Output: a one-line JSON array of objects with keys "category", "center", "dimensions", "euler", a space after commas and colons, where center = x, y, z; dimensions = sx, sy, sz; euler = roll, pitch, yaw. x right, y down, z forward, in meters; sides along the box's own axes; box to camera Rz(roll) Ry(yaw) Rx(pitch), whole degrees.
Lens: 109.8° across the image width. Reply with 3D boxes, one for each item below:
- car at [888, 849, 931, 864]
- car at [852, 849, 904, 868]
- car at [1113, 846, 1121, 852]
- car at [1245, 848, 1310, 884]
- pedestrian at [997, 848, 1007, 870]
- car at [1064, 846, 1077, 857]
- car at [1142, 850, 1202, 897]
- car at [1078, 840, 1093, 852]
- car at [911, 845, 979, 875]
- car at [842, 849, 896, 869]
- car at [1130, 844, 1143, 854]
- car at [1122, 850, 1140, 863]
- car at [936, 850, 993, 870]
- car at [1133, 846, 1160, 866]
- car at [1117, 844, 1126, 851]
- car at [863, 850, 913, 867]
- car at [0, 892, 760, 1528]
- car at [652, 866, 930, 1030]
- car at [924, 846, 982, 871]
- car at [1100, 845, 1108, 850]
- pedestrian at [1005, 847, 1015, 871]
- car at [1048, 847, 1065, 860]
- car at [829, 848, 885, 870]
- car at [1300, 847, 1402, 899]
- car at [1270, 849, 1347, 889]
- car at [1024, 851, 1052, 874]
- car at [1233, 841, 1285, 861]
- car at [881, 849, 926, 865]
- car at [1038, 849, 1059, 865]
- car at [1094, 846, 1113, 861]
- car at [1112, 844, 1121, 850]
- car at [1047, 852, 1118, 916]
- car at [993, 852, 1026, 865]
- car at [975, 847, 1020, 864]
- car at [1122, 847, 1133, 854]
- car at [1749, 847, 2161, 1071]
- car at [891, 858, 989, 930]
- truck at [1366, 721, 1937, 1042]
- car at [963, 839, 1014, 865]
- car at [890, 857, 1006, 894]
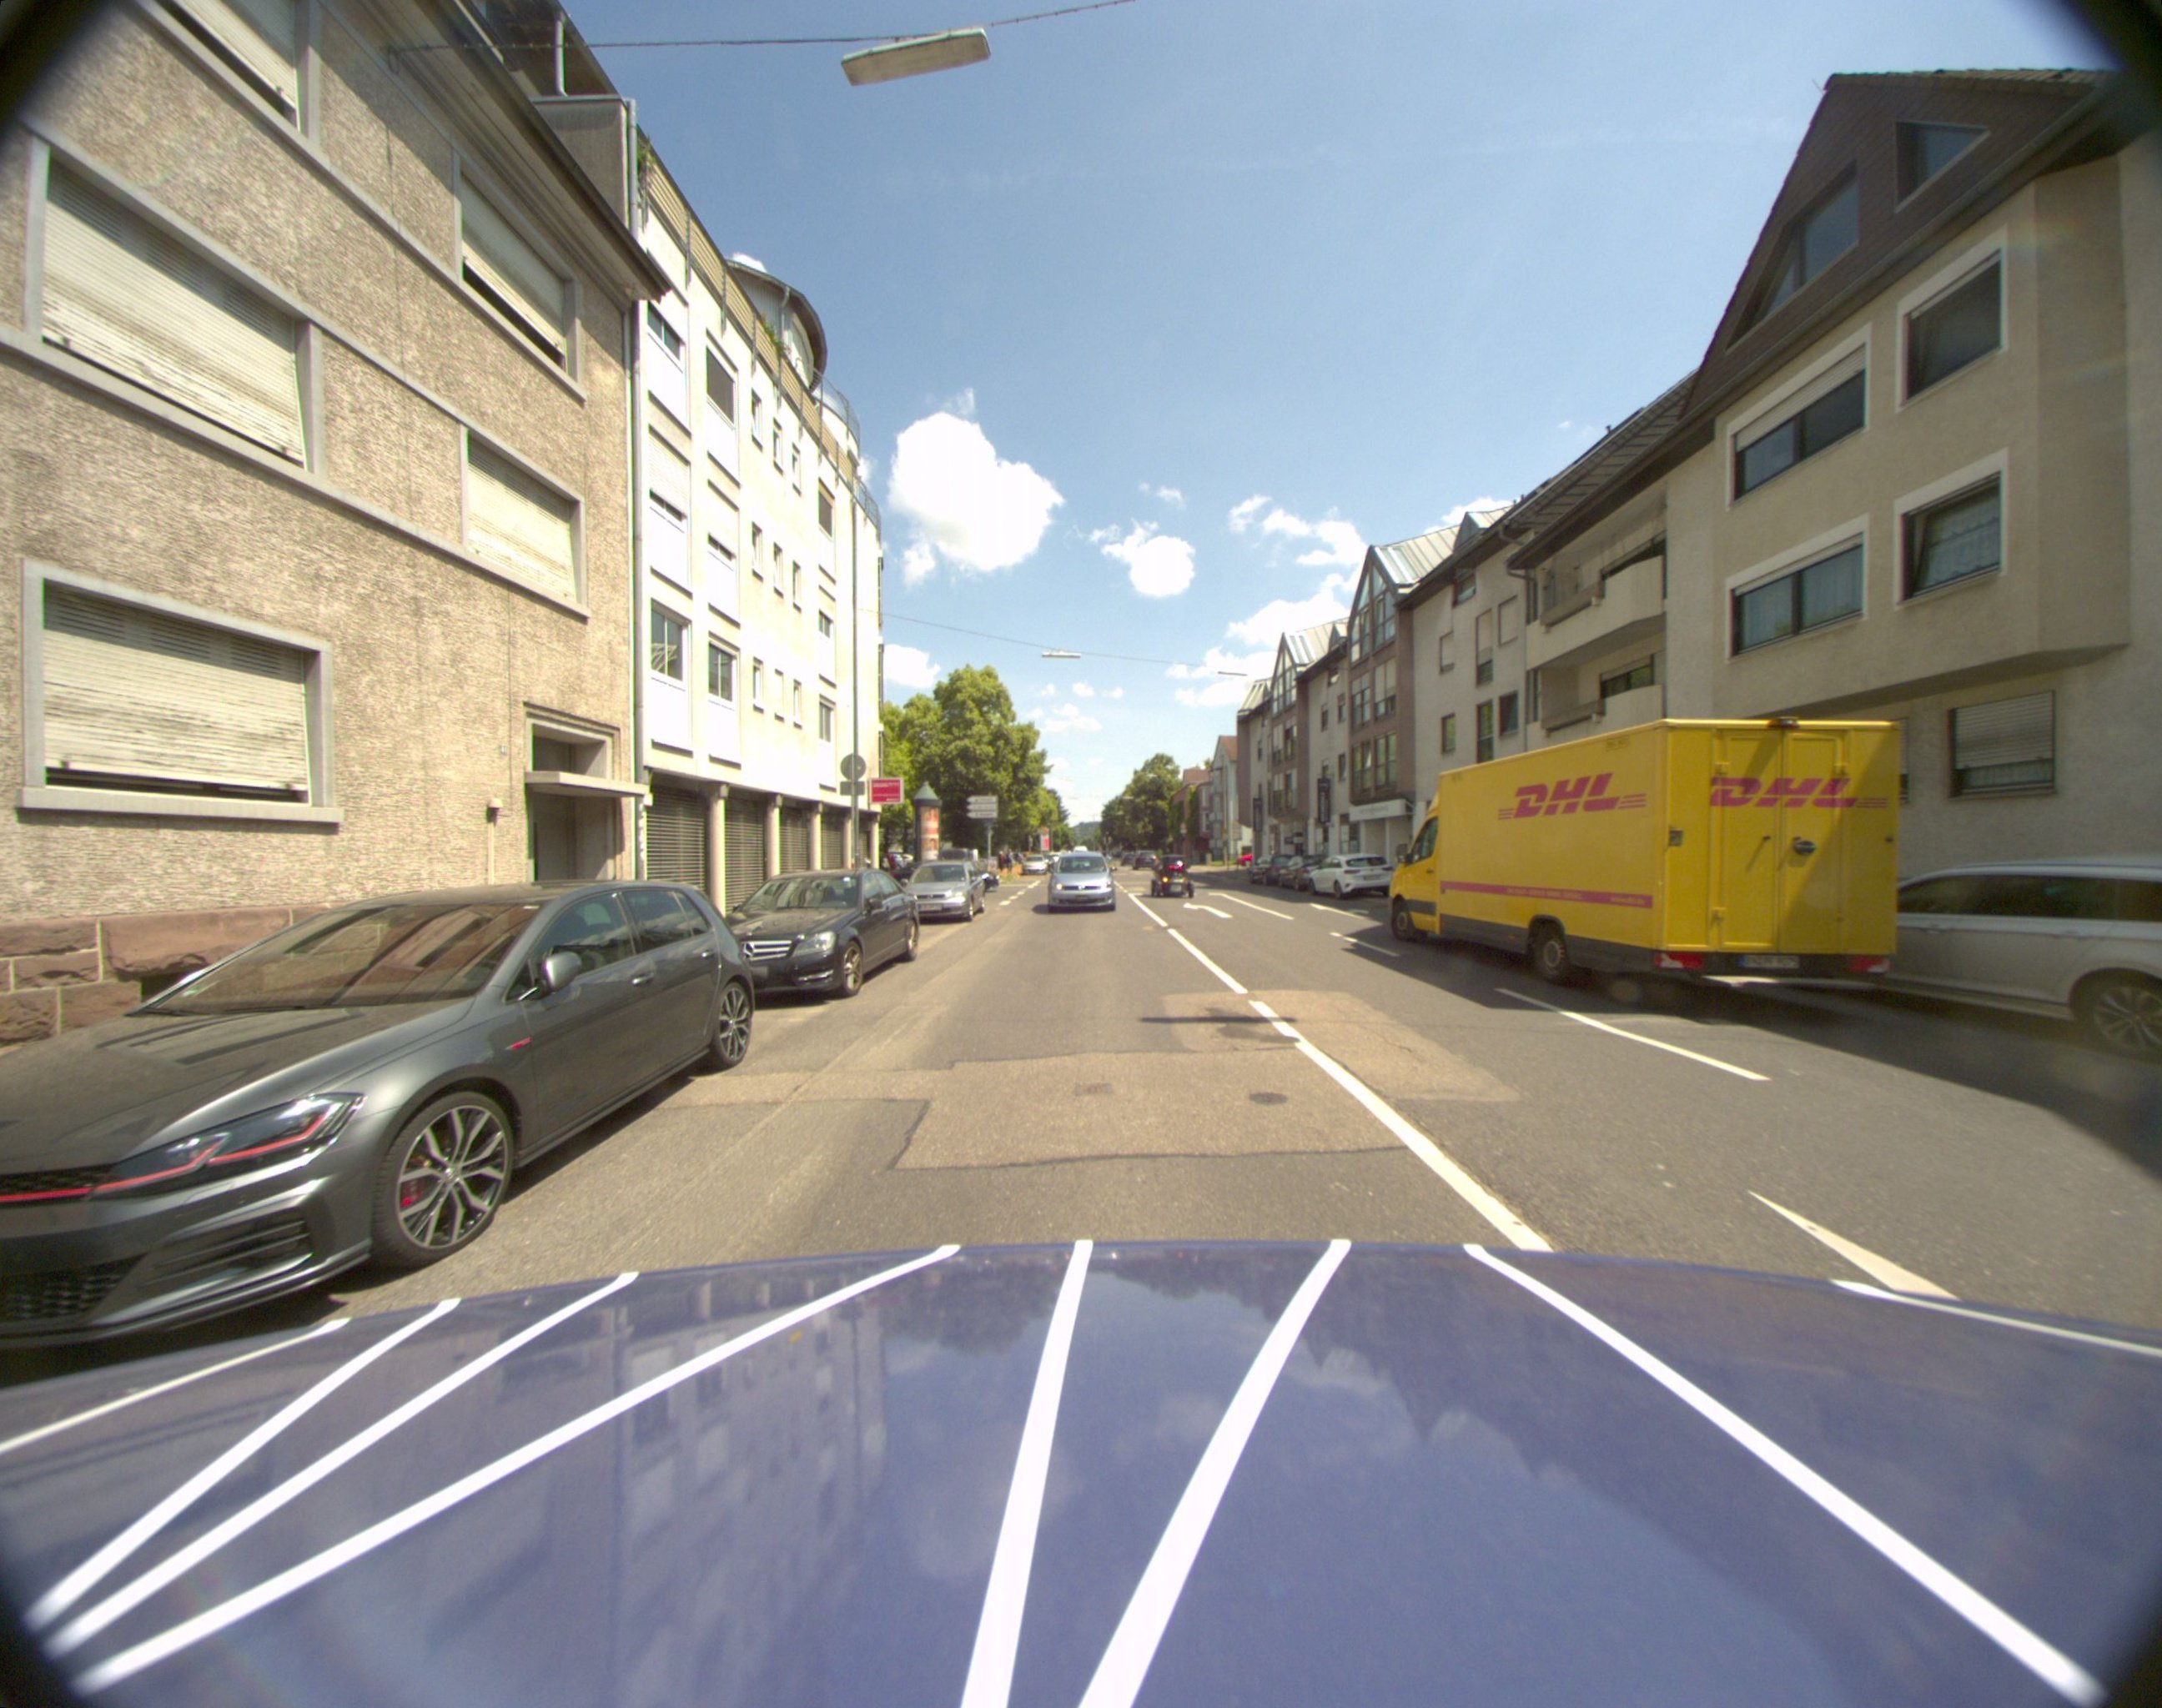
[{"category": "car", "center": [-17.873, 0.233, 79.173], "dimensions": [3.996, 1.465, 1.804], "euler": [0, 1, 2]}, {"category": "car", "center": [-17.706, 0.413, 66.249], "dimensions": [3.996, 1.577, 1.804], "euler": [0, 1, 2]}, {"category": "car", "center": [8.800, -1.167, 187.551], "dimensions": [1.758, 1.325, 3.607], "euler": [-2, 1, -1]}, {"category": "car", "center": [9.296, 0.500, 36.373], "dimensions": [1.844, 1.439, 4.968], "euler": [-3, 1, 1]}, {"category": "pedestrian", "center": [-5.874, 0.360, 56.798], "dimensions": [0.618, 1.584, 0.737], "euler": [-2, 2, 0]}, {"category": "car", "center": [-1.459, -0.393, 108.360], "dimensions": [1.775, 1.434, 3.338], "euler": [-2, 1, 1]}, {"category": "car", "center": [3.054, 0.626, 25.897], "dimensions": [1.501, 1.451, 2.721], "euler": [-1, 1, -4]}, {"category": "car", "center": [0.571, -1.035, 96.042], "dimensions": [1.720, 1.406, 4.589], "euler": [-1, 1, 3]}, {"category": "car", "center": [-8.797, 0.366, 49.487], "dimensions": [3.997, 1.741, 2.016], "euler": [-2, 1, -1]}, {"category": "car", "center": [-17.699, 0.404, 63.495], "dimensions": [3.996, 1.652, 1.804], "euler": [0, 1, 2]}, {"category": "car", "center": [8.856, -0.779, 121.250], "dimensions": [1.752, 1.499, 3.999], "euler": [-2, 1, -1]}, {"category": "car", "center": [5.347, 0.252, 81.844], "dimensions": [1.747, 1.411, 4.222], "euler": [0, 1, 1]}, {"category": "car", "center": [-8.751, 0.435, 57.118], "dimensions": [3.997, 1.390, 1.807], "euler": [-2, 1, -2]}, {"category": "car", "center": [5.414, 0.185, 63.442], "dimensions": [1.817, 1.611, 4.441], "euler": [0, 0, -1]}, {"category": "car", "center": [8.854, -1.399, 166.888], "dimensions": [1.758, 1.325, 3.607], "euler": [-2, 1, -1]}, {"category": "car", "center": [-17.372, 0.425, 68.566], "dimensions": [3.996, 1.465, 1.804], "euler": [0, 1, 2]}, {"category": "car", "center": [-3.330, 1.043, 3.977], "dimensions": [1.656, 1.412, 4.047], "euler": [-1, 1, -2]}, {"category": "car", "center": [-3.272, 0.955, 9.643], "dimensions": [1.716, 1.464, 4.438], "euler": [-1, 1, 1]}, {"category": "car", "center": [-8.721, 0.283, 52.127], "dimensions": [3.774, 1.658, 1.663], "euler": [-1, 1, -4]}, {"category": "car", "center": [6.225, -1.771, 204.641], "dimensions": [1.752, 1.499, 3.999], "euler": [-2, 1, -1]}, {"category": "pedestrian", "center": [-5.284, 0.363, 56.808], "dimensions": [0.618, 1.754, 0.737], "euler": [-2, 2, 0]}, {"category": "car", "center": [-2.928, -0.110, 91.321], "dimensions": [1.721, 1.434, 4.111], "euler": [-3, 1, 1]}, {"category": "car", "center": [-17.942, 0.388, 60.919], "dimensions": [3.998, 1.631, 1.680], "euler": [0, 1, -2]}, {"category": "car", "center": [9.135, 0.584, 26.100], "dimensions": [1.844, 1.480, 4.385], "euler": [-3, 1, -1]}, {"category": "car", "center": [9.301, 0.571, 31.393], "dimensions": [1.844, 1.376, 4.326], "euler": [-3, 1, 1]}, {"category": "car", "center": [-3.078, 0.568, 54.874], "dimensions": [1.771, 1.477, 3.890], "euler": [-2, 1, -1]}, {"category": "car", "center": [15.559, -0.261, 66.595], "dimensions": [3.997, 1.443, 1.733], "euler": [-5, 0, -1]}, {"category": "car", "center": [-17.773, 0.295, 76.225], "dimensions": [3.996, 1.465, 1.804], "euler": [0, 1, 2]}, {"category": "car", "center": [-2.966, 0.248, 70.144], "dimensions": [1.667, 1.420, 3.999], "euler": [-1, 1, 1]}, {"category": "car", "center": [2.378, -0.097, 82.207], "dimensions": [1.867, 1.516, 4.291], "euler": [-2, 1, -1]}, {"category": "car", "center": [8.562, -1.684, 183.035], "dimensions": [1.758, 1.325, 3.607], "euler": [-2, 1, -1]}, {"category": "car", "center": [0.049, 0.744, 21.071], "dimensions": [1.747, 1.513, 4.222], "euler": [-1, 1, 0]}, {"category": "car", "center": [-8.561, 0.567, 90.971], "dimensions": [3.849, 1.350, 1.628], "euler": [-2, 1, -8]}, {"category": "car", "center": [-8.494, 0.162, 77.510], "dimensions": [4.336, 1.485, 1.808], "euler": [-3, 1, -1]}, {"category": "car", "center": [8.803, -0.654, 144.190], "dimensions": [1.758, 1.325, 3.607], "euler": [-2, 1, -1]}, {"category": "car", "center": [8.705, 0.755, 6.671], "dimensions": [1.844, 1.479, 4.386], "euler": [-3, 1, 1]}, {"category": "car", "center": [-3.353, 0.898, 18.832], "dimensions": [1.682, 1.446, 4.142], "euler": [-3, 1, -1]}, {"category": "truck", "center": [6.331, 0.187, 10.356], "dimensions": [2.231, 2.755, 7.563], "euler": [1, 1, 2]}, {"category": "car", "center": [-8.965, -0.184, 73.787], "dimensions": [4.614, 2.263, 2.105], "euler": [-3, 1, 0]}, {"category": "car", "center": [-5.596, 0.887, 32.374], "dimensions": [4.593, 1.357, 1.999], "euler": [-2, 1, -2]}]
